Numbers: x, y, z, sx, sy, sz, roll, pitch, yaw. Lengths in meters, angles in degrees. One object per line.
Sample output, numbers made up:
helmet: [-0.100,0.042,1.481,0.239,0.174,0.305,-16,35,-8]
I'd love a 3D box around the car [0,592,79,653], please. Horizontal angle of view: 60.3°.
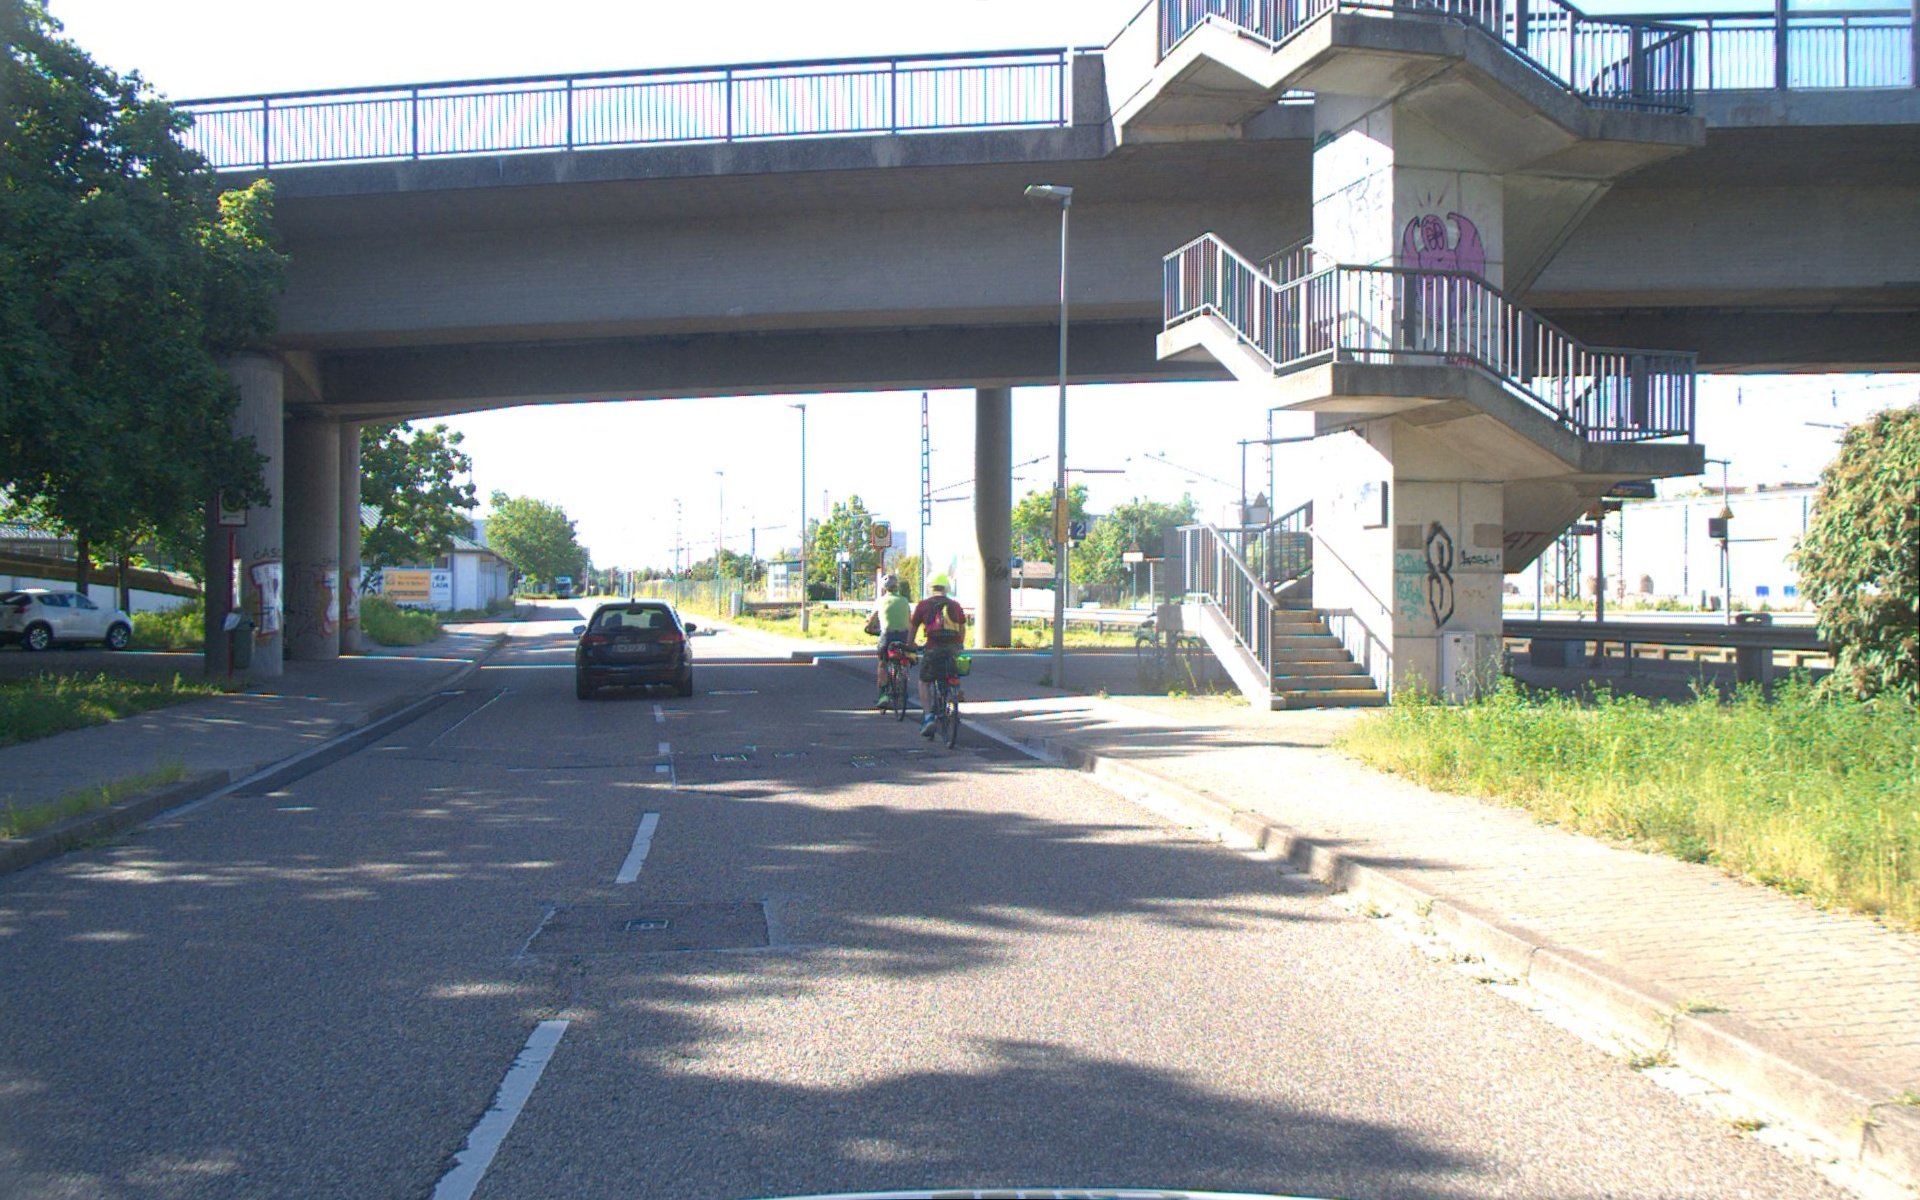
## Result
car: [-26.064,0.604,44.511,1.642,1.579,4.302,-1,1,16]

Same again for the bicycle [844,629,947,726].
bicycle: [-0.833,0.931,20.566,0.827,1.070,2.181,-1,1,-14]

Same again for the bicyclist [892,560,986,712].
bicyclist: [-0.228,0.355,17.066,0.825,1.514,0.921,-1,1,-10]

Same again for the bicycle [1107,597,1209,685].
bicycle: [2.886,0.575,24.369,0.588,1.203,2.169,-1,1,-19]

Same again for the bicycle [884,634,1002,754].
bicycle: [-0.209,0.928,17.027,0.826,1.070,2.184,-1,1,-11]

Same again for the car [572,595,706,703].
car: [-5.166,0.705,26.255,1.909,1.515,4.550,-1,0,-13]

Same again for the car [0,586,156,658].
car: [-23.655,0.574,43.595,1.825,1.670,4.283,-3,1,20]

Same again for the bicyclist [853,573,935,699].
bicyclist: [-0.826,0.430,20.528,0.827,1.514,0.920,-1,1,-15]
